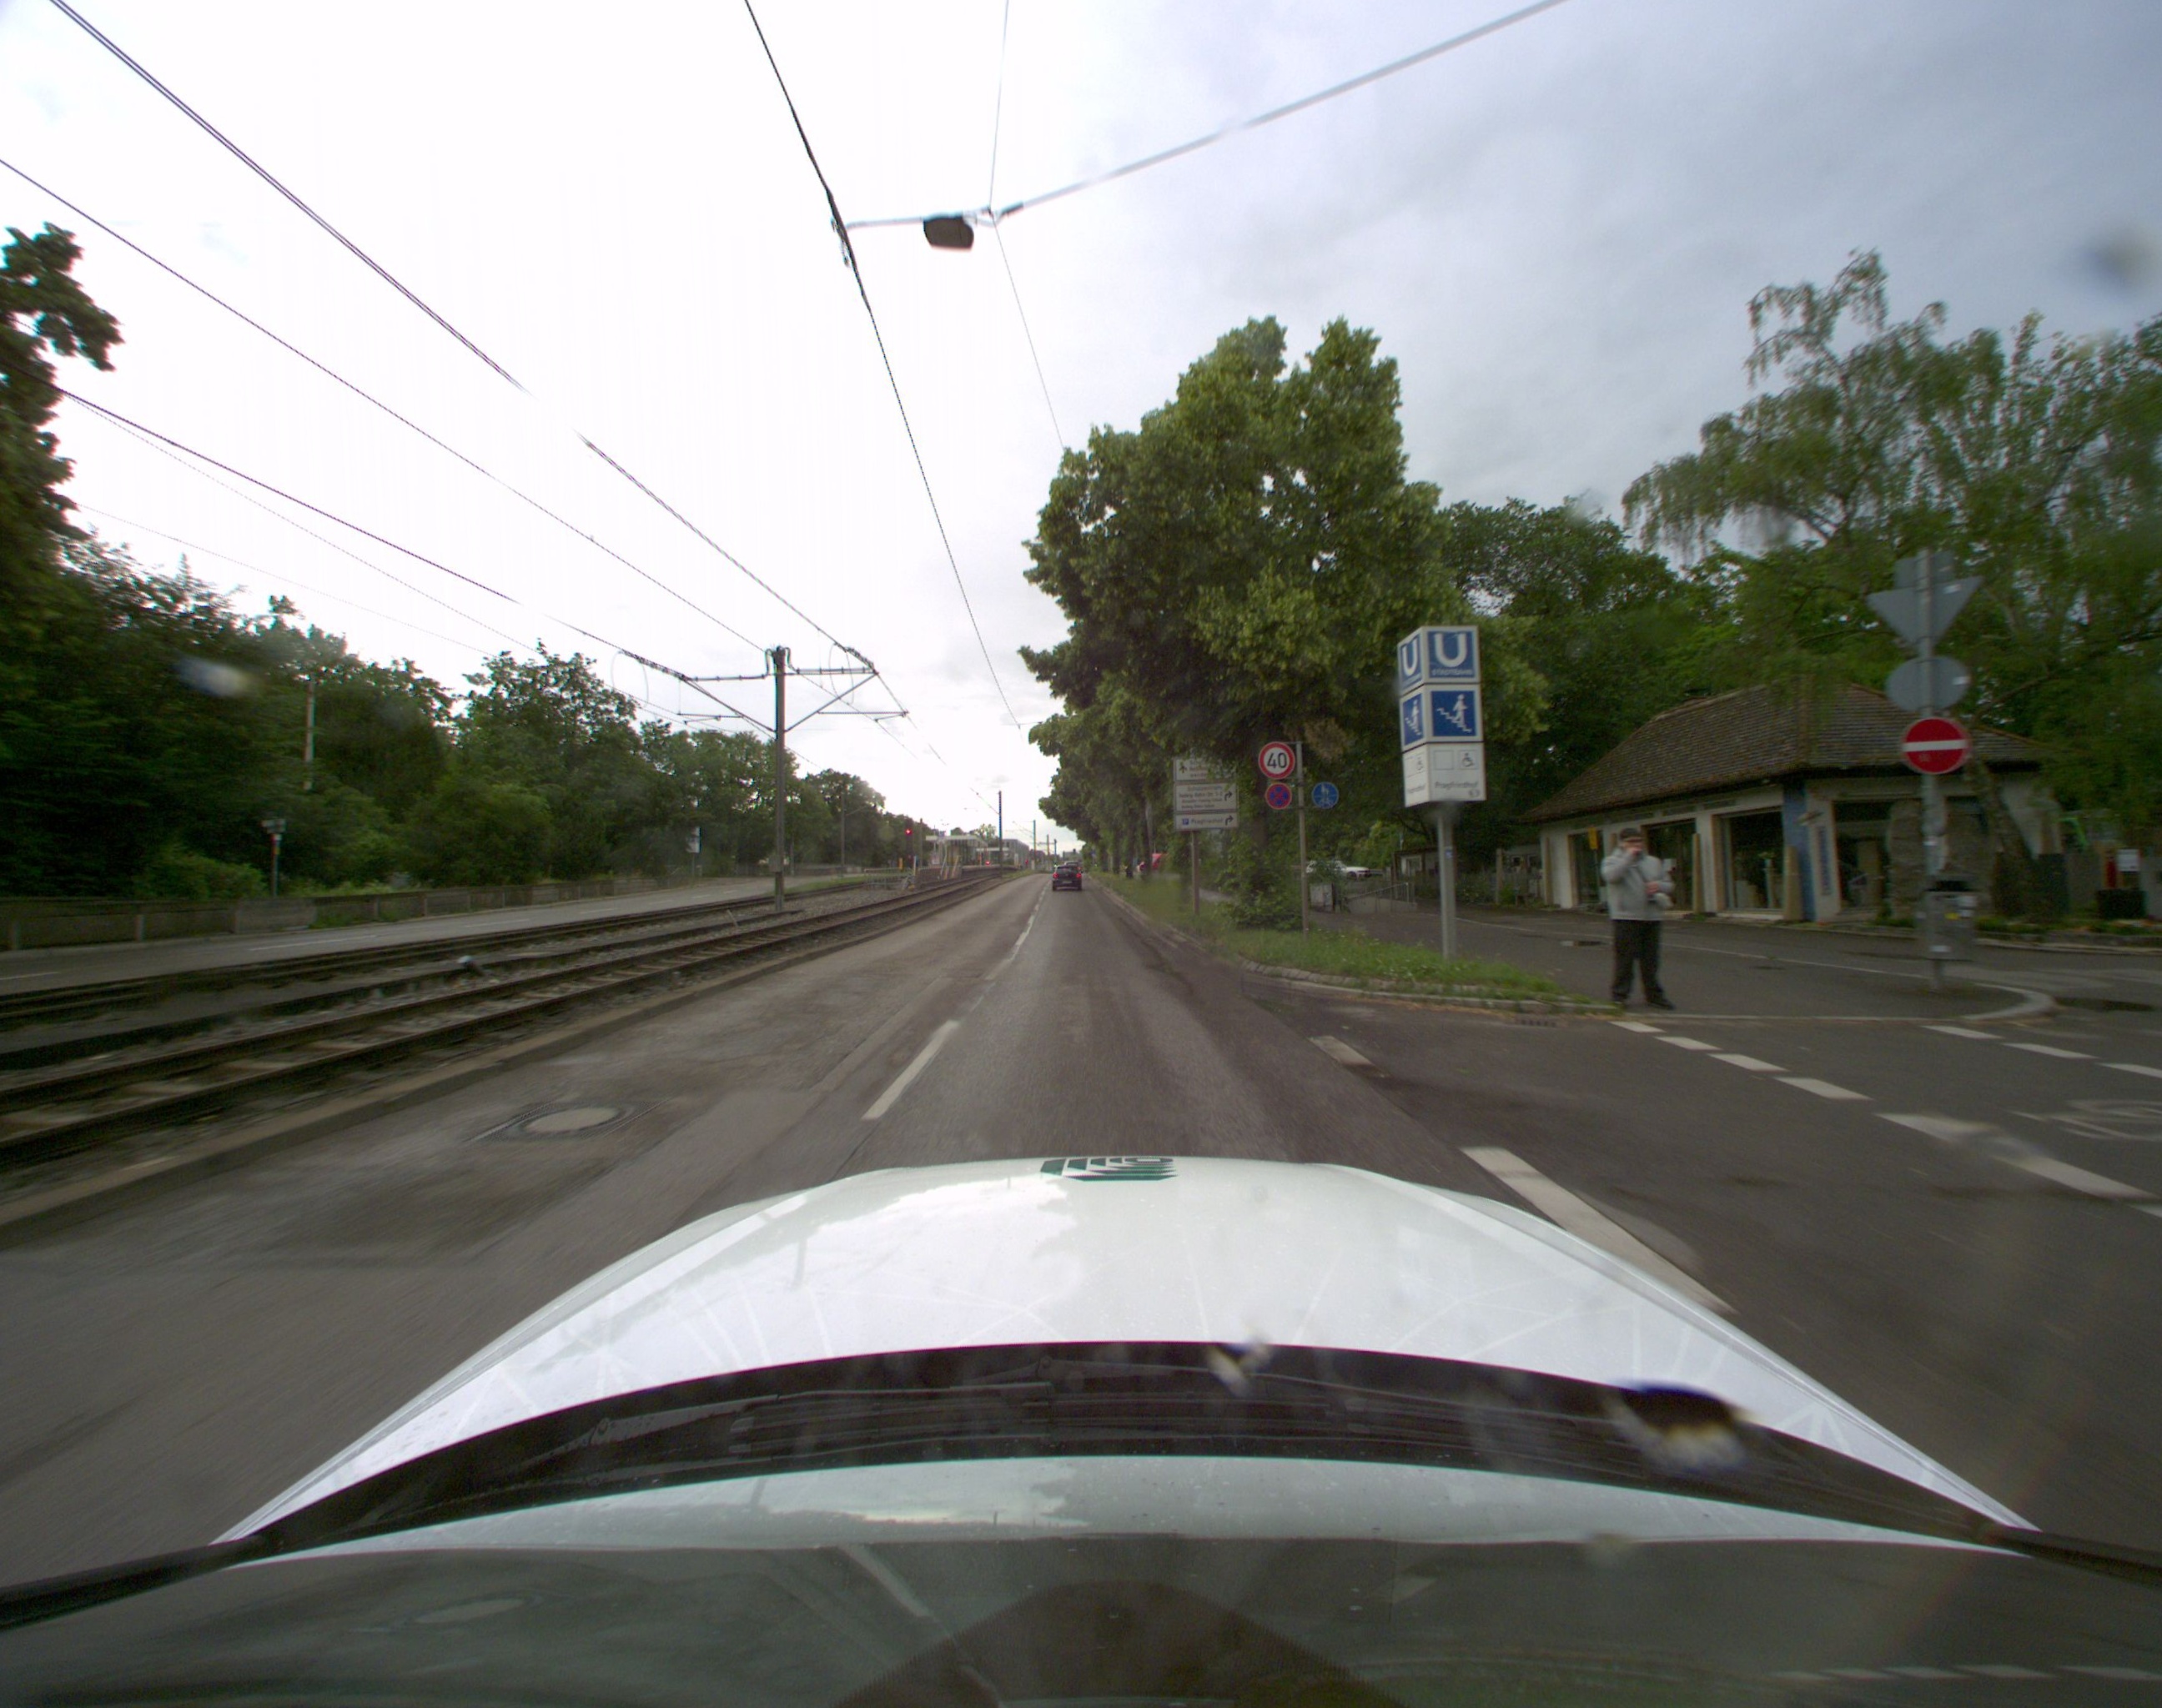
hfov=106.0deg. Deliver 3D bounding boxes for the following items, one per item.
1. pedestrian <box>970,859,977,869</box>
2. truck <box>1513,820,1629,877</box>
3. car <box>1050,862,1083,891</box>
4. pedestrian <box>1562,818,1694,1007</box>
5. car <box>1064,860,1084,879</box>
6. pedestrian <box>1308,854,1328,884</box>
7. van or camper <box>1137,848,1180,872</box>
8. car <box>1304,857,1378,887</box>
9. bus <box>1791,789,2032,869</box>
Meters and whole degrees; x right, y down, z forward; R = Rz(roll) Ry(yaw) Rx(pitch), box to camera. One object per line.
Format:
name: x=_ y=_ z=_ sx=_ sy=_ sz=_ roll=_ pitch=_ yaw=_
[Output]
pedestrian: x=-12.668 y=1.168 z=95.629 sx=0.708 sy=1.225 sz=0.619 roll=0 pitch=-1 yaw=-1
truck: x=26.806 y=-0.271 z=44.937 sx=2.049 sy=2.867 sz=6.595 roll=-1 pitch=0 yaw=-4
car: x=-0.784 y=1.265 z=46.493 sx=1.721 sy=1.540 sz=4.000 roll=-1 pitch=0 yaw=0
pedestrian: x=5.571 y=0.575 z=8.337 sx=0.851 sy=1.854 sz=0.737 roll=0 pitch=0 yaw=2
car: x=-0.599 y=1.319 z=69.266 sx=1.682 sy=1.517 sz=3.999 roll=-1 pitch=0 yaw=-1
pedestrian: x=16.235 y=1.034 z=55.839 sx=0.964 sy=2.014 sz=0.943 roll=0 pitch=0 yaw=-24
van or camper: x=9.029 y=0.712 z=94.086 sx=2.016 sy=2.406 sz=5.423 roll=3 pitch=-1 yaw=42
car: x=17.945 y=1.224 z=56.348 sx=1.956 sy=1.834 sz=4.415 roll=2 pitch=0 yaw=-41
bus: x=31.538 y=-0.839 z=31.447 sx=2.242 sy=2.701 sz=7.173 roll=-1 pitch=0 yaw=3
